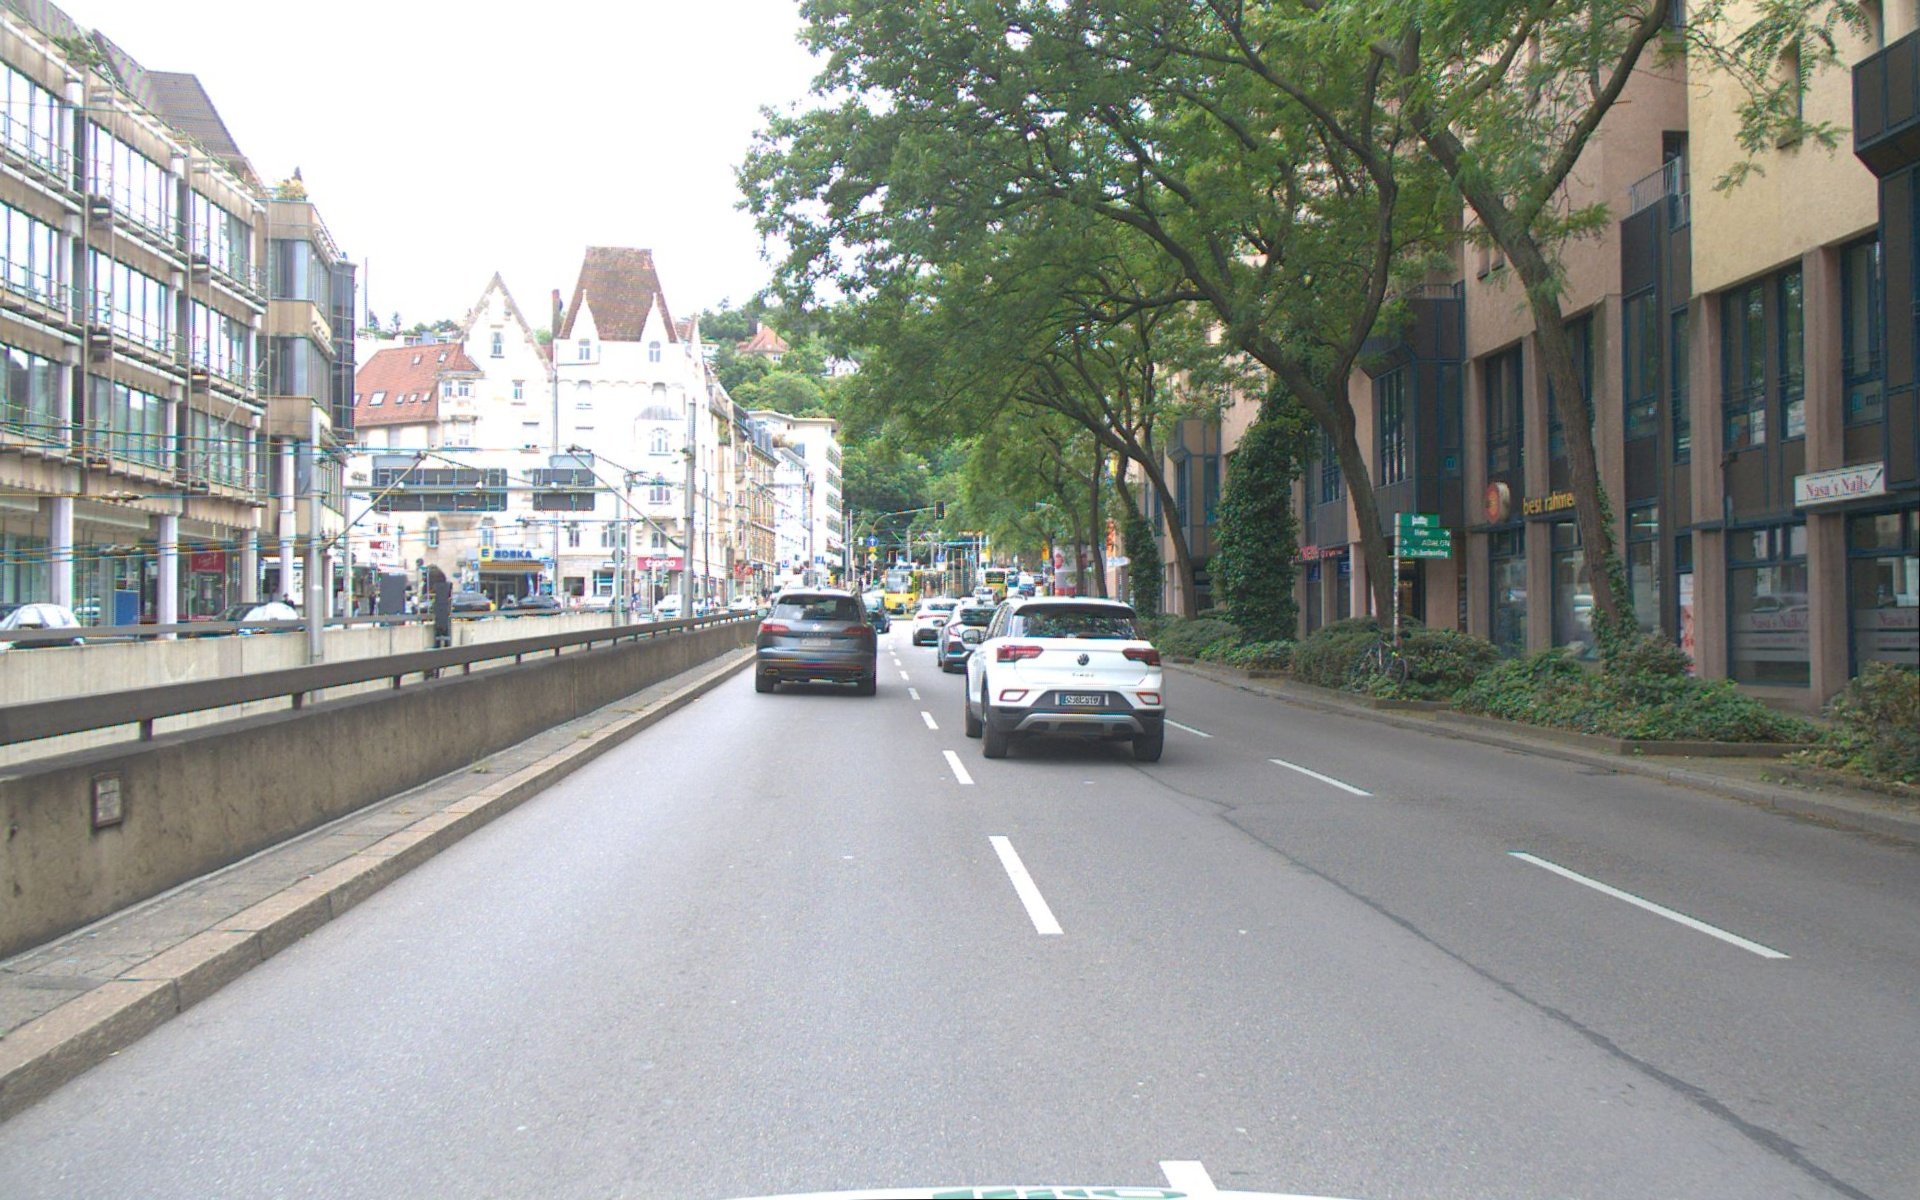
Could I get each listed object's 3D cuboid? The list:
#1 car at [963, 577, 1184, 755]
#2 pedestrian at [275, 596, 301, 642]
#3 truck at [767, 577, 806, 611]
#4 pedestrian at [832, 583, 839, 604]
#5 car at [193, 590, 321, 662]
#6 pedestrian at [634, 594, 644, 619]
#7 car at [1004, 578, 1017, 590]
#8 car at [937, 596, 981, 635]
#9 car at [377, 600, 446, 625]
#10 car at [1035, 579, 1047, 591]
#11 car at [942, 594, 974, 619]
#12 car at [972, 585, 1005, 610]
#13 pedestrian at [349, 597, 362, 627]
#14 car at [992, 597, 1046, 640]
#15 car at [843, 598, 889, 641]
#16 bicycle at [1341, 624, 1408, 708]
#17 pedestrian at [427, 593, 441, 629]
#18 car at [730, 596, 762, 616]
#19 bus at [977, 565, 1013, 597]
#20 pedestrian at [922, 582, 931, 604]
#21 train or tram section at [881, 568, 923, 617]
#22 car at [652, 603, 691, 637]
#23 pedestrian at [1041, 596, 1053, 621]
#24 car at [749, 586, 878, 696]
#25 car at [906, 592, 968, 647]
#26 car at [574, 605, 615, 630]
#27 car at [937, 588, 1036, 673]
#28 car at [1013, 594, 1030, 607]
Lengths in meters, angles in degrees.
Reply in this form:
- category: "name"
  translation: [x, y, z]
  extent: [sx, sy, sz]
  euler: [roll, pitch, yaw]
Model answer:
- category: "car"
  translation: [1.055, 0.626, 17.334]
  extent: [1.801, 1.611, 4.154]
  euler: [1, 0, -3]
- category: "pedestrian"
  translation: [-27.335, 0.787, 67.249]
  extent: [0.716, 1.843, 0.739]
  euler: [1, -1, -2]
- category: "truck"
  translation: [-16.611, -0.520, 158.741]
  extent: [2.218, 3.130, 7.379]
  euler: [1, 0, 5]
- category: "pedestrian"
  translation: [-10.484, -0.565, 139.492]
  extent: [0.623, 1.741, 0.689]
  euler: [0, 0, -5]
- category: "car"
  translation: [-20.097, 0.757, 47.488]
  extent: [1.954, 1.948, 4.376]
  euler: [1, -1, -3]
- category: "pedestrian"
  translation: [-23.648, 0.482, 121.927]
  extent: [0.563, 1.811, 0.512]
  euler: [0, 0, 8]
- category: "car"
  translation: [6.987, -2.248, 228.771]
  extent: [1.638, 1.588, 3.680]
  euler: [1, 0, 3]
- category: "car"
  translation: [-0.101, 0.856, 92.630]
  extent: [2.317, 2.049, 5.146]
  euler: [1, 0, -1]
- category: "car"
  translation: [-33.926, 0.755, 102.293]
  extent: [3.973, 1.527, 1.658]
  euler: [0, 0, -22]
- category: "car"
  translation: [11.414, -2.124, 234.229]
  extent: [1.638, 1.588, 3.680]
  euler: [1, 0, 3]
- category: "car"
  translation: [-0.116, 0.452, 114.218]
  extent: [1.845, 1.713, 4.163]
  euler: [1, 0, 4]
- category: "car"
  translation: [2.463, -0.211, 141.088]
  extent: [2.314, 2.049, 5.151]
  euler: [1, 0, 7]
- category: "pedestrian"
  translation: [-36.208, 0.707, 99.099]
  extent: [0.499, 1.811, 0.577]
  euler: [0, 0, 6]
- category: "car"
  translation: [2.903, 0.895, 82.477]
  extent: [2.317, 2.049, 5.146]
  euler: [1, 0, -1]
- category: "car"
  translation: [-3.958, 0.815, 70.085]
  extent: [1.847, 1.713, 4.158]
  euler: [1, 0, -3]
- category: "bicycle"
  translation: [6.328, 0.988, 25.316]
  extent: [0.355, 1.222, 1.566]
  euler: [0, 0, -11]
- category: "pedestrian"
  translation: [-26.500, 0.561, 83.332]
  extent: [0.499, 1.811, 0.577]
  euler: [0, 0, 6]
- category: "car"
  translation: [-17.419, 0.500, 134.838]
  extent: [1.712, 1.588, 4.516]
  euler: [1, 0, 3]
- category: "bus"
  translation: [3.793, -1.976, 176.859]
  extent: [3.301, 3.118, 13.329]
  euler: [1, 0, 3]
- category: "pedestrian"
  translation: [-2.642, -0.560, 129.650]
  extent: [0.671, 1.741, 0.712]
  euler: [0, 0, 3]
- category: "train or tram section"
  translation: [-4.601, -0.625, 132.332]
  extent: [2.775, 3.743, 5.755]
  euler: [1, 0, 4]
- category: "car"
  translation: [-17.256, 1.209, 99.052]
  extent: [1.798, 1.874, 4.600]
  euler: [4, -1, -5]
- category: "pedestrian"
  translation: [6.537, 0.636, 124.058]
  extent: [0.679, 1.808, 0.689]
  euler: [-4, 0, -1]
- category: "car"
  translation: [-2.370, 0.628, 27.352]
  extent: [1.954, 1.664, 3.997]
  euler: [0, 0, -4]
- category: "car"
  translation: [-0.792, 0.620, 54.552]
  extent: [1.847, 1.713, 4.158]
  euler: [1, 0, -3]
- category: "car"
  translation: [-22.478, 1.063, 101.820]
  extent: [1.630, 1.527, 4.412]
  euler: [0, 0, -1]
- category: "car"
  translation: [0.520, 0.637, 35.991]
  extent: [1.847, 1.713, 4.158]
  euler: [1, 0, -3]
- category: "car"
  translation: [6.011, 0.081, 161.172]
  extent: [1.549, 1.193, 3.680]
  euler: [1, 0, 3]
